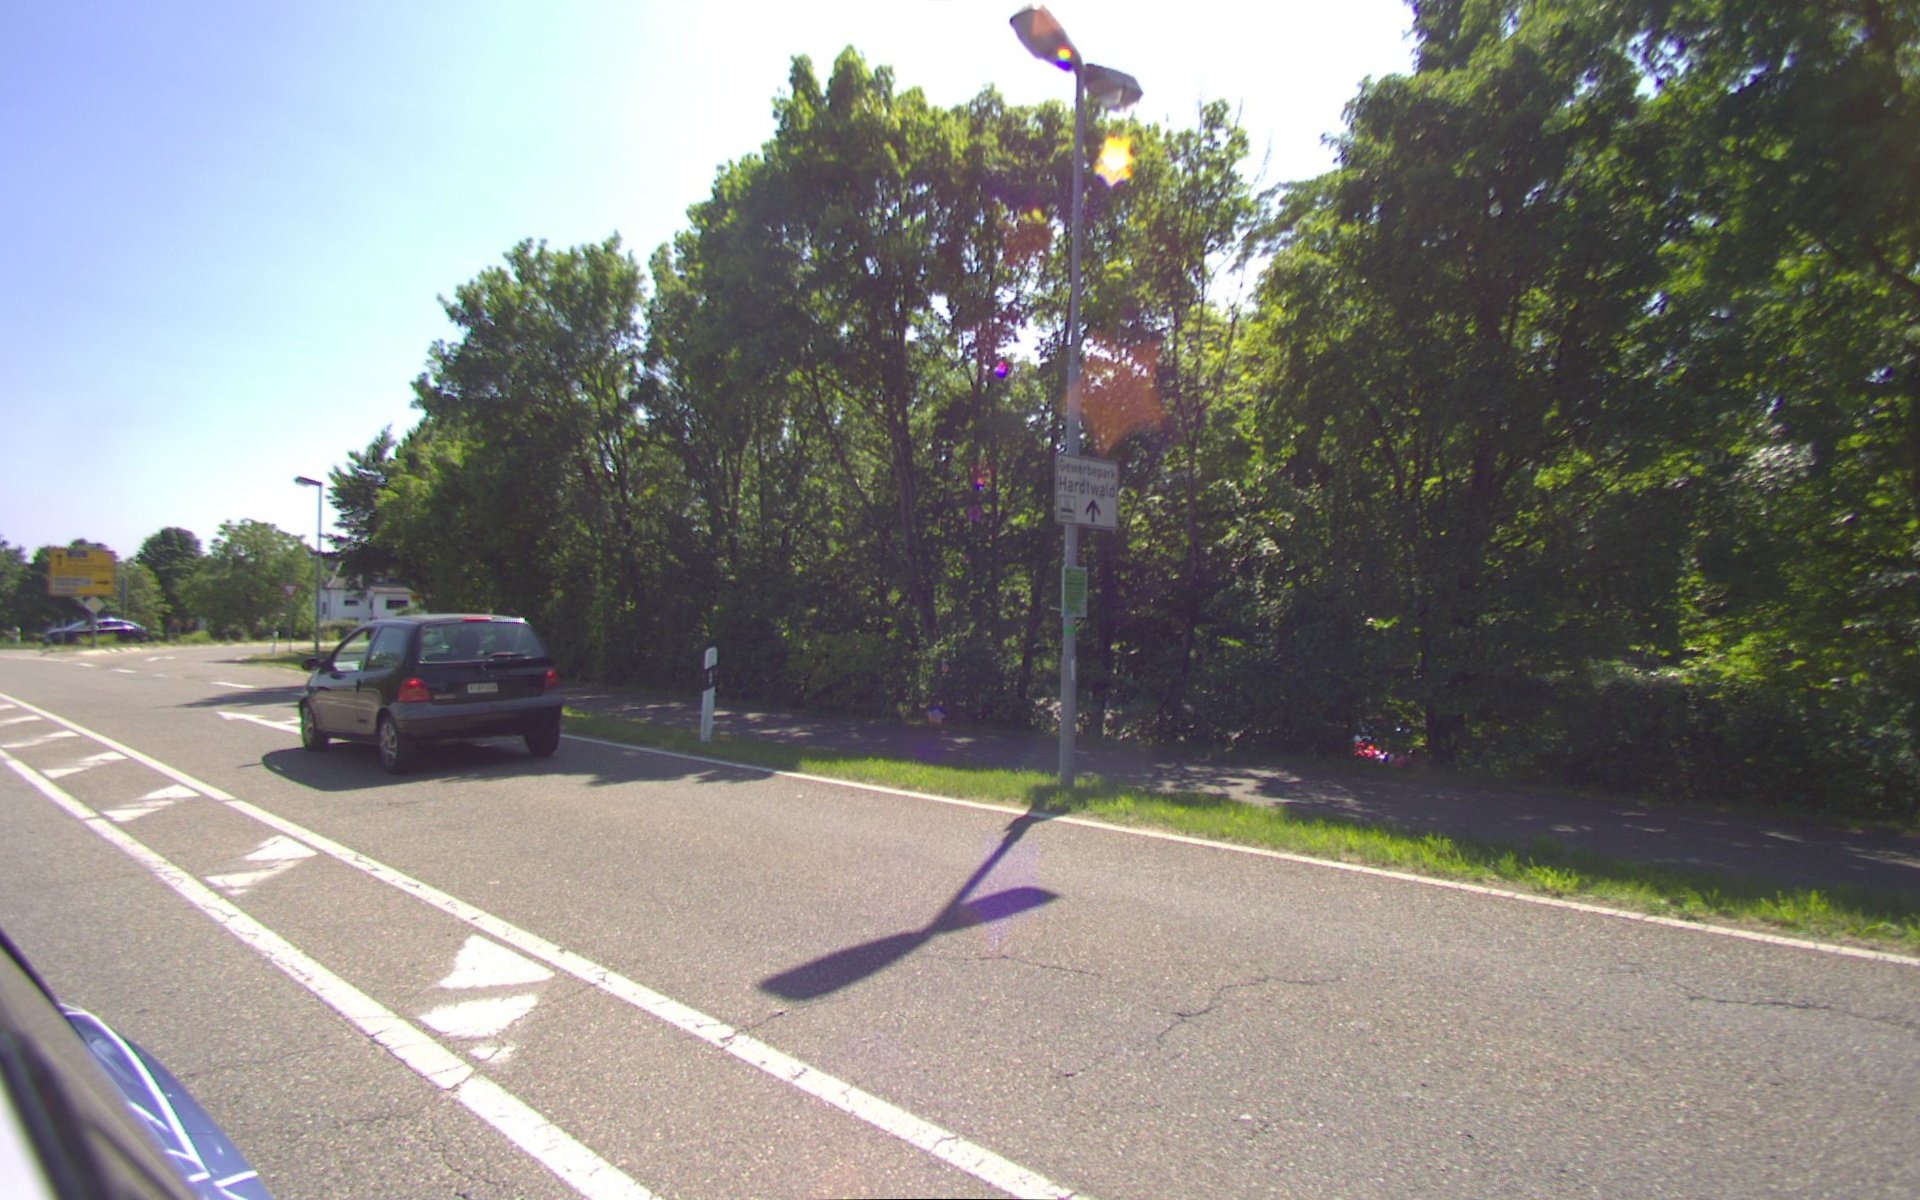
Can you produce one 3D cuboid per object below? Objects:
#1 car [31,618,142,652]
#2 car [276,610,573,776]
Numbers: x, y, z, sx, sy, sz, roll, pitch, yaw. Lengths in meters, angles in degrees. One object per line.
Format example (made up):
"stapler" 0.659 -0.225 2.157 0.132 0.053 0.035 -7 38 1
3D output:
"car" -47.727 1.900 55.427 1.735 1.658 4.348 -4 -3 19
"car" -5.615 0.826 10.462 3.431 1.415 1.610 -1 -1 41
